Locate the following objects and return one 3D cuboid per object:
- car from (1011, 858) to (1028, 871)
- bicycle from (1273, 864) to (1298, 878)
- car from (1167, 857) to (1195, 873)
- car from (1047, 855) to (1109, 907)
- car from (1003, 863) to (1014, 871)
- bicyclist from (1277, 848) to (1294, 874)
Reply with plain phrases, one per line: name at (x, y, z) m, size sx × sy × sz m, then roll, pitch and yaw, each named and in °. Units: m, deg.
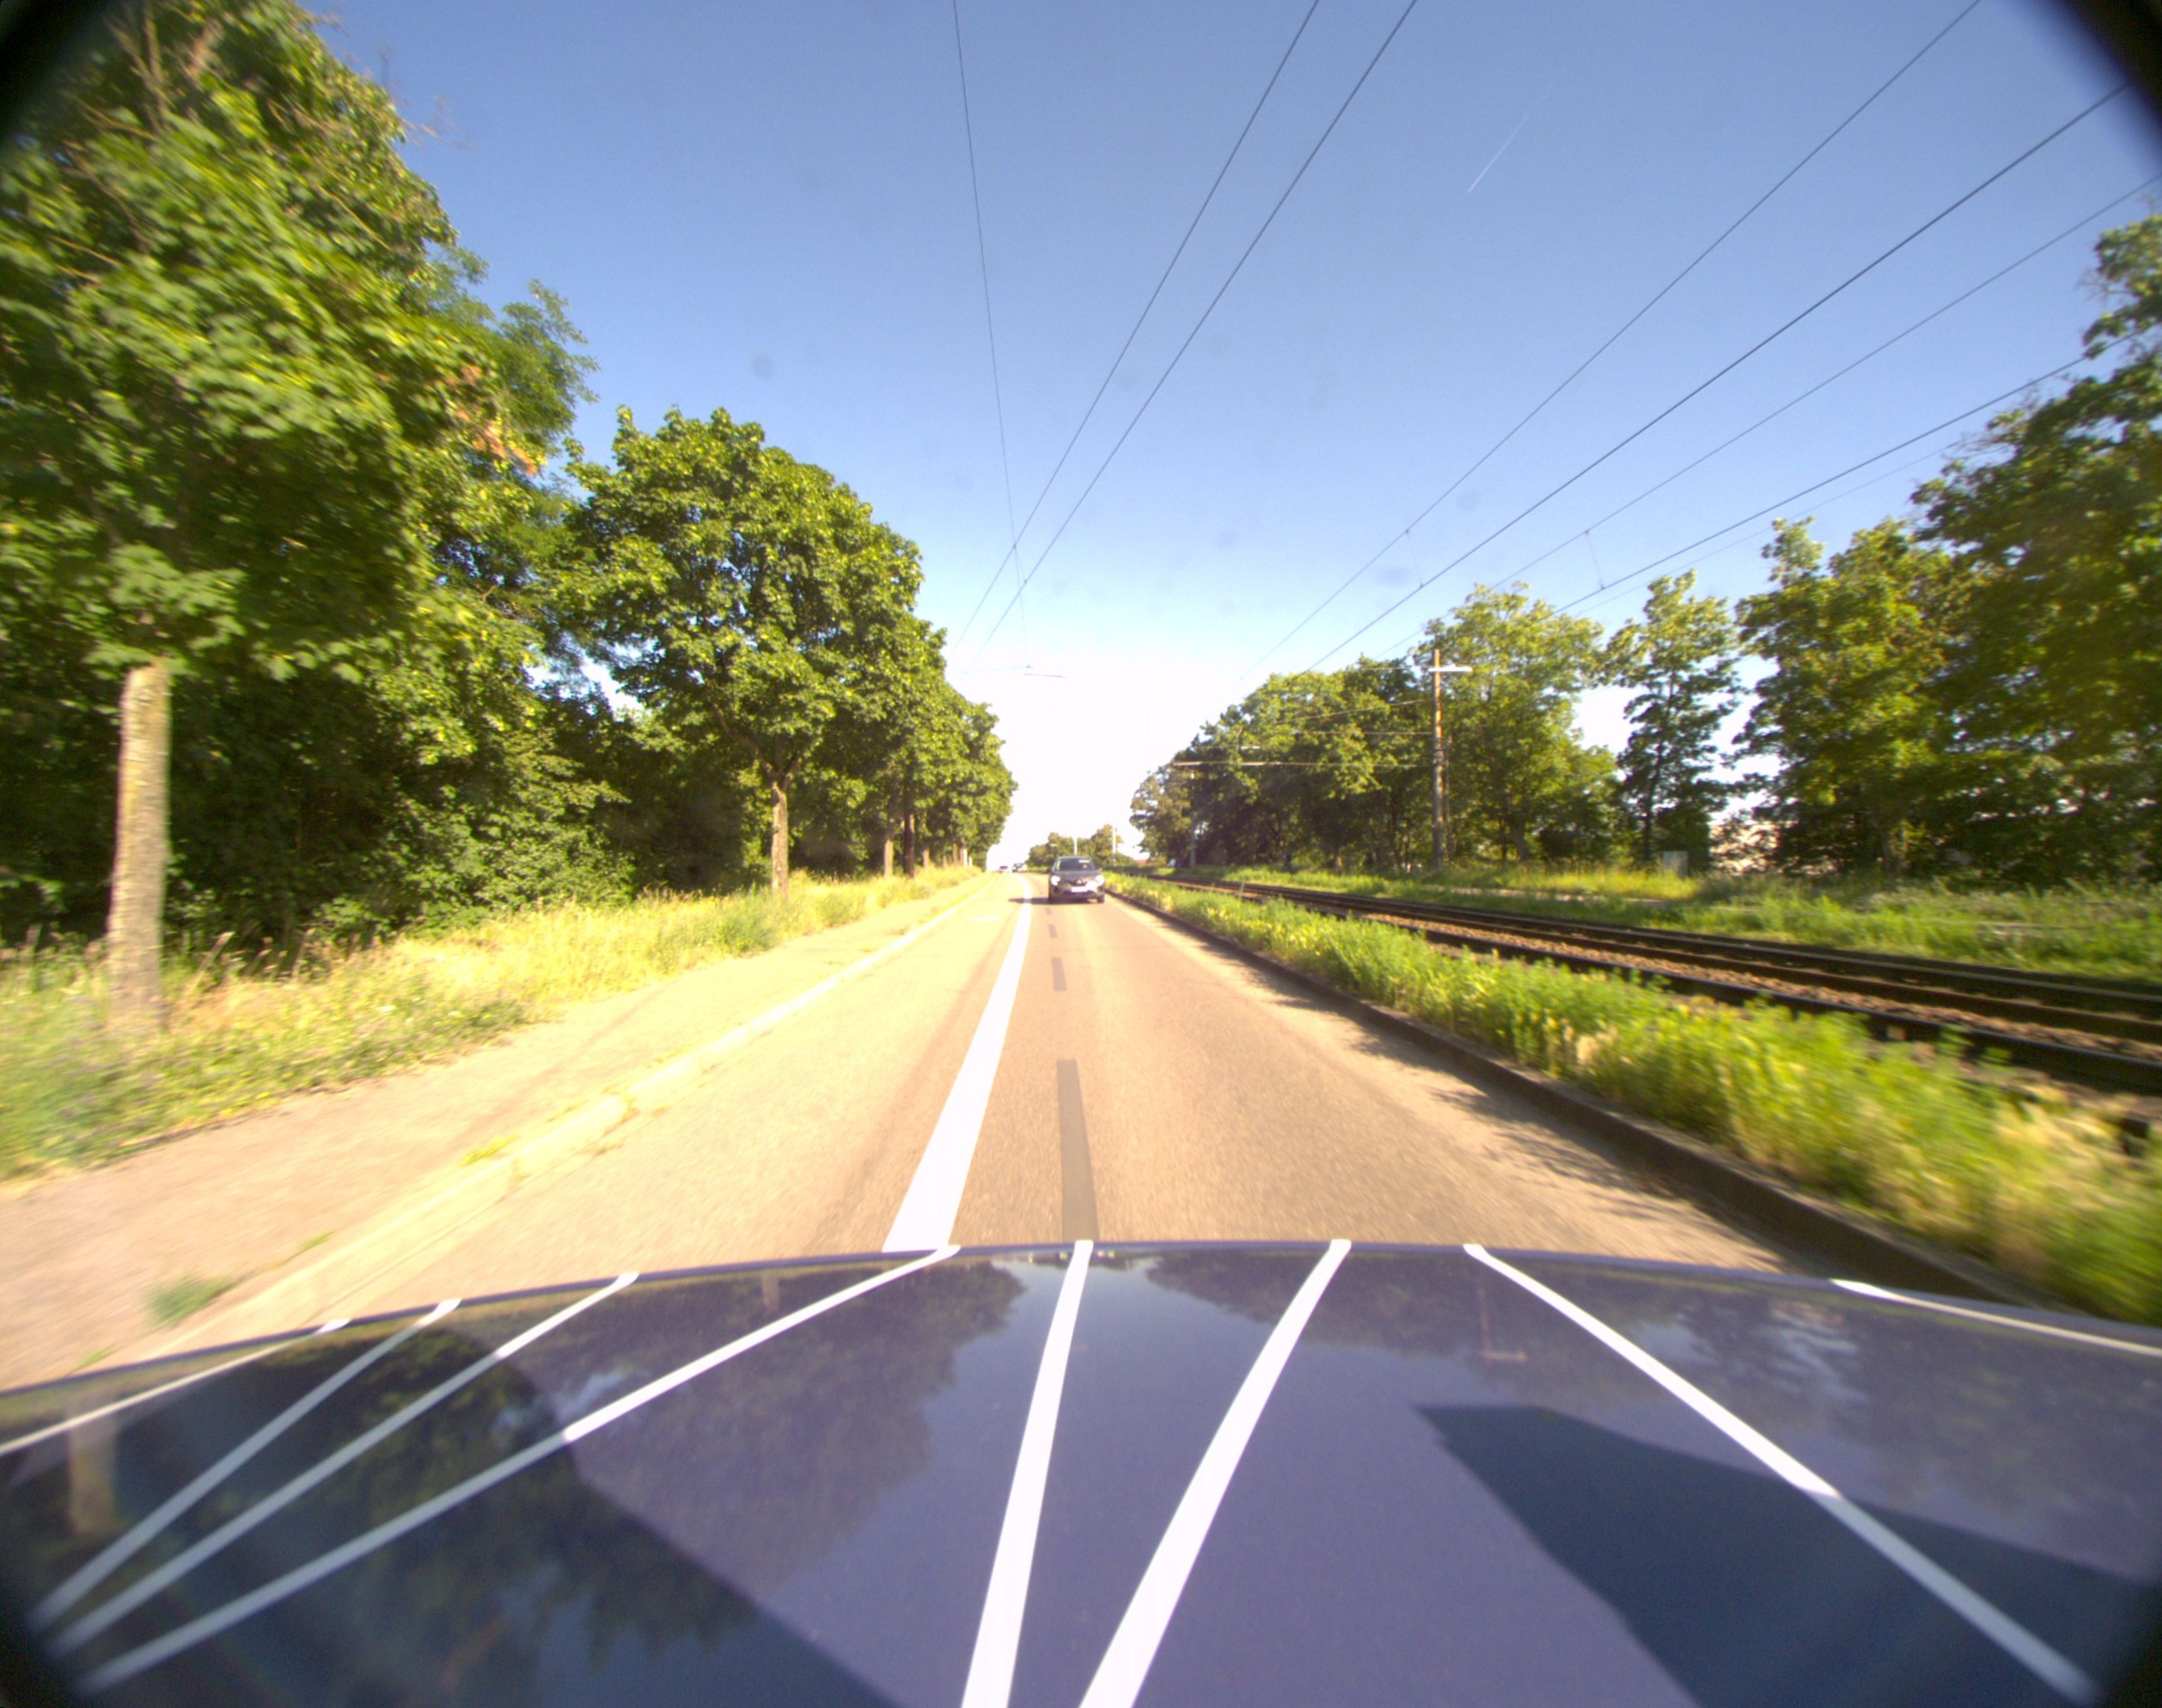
car at (-8.168, 1.352, 100.567) m, size 2.000 × 1.577 × 3.997 m, roll -2°, pitch 0°, yaw -9°
bicycle at (14.087, 1.185, 52.409) m, size 0.820 × 0.909 × 2.536 m, roll -1°, pitch 0°, yaw -4°
car at (9.366, 1.018, 71.426) m, size 1.715 × 1.470 × 3.998 m, roll -1°, pitch 0°, yaw -6°
car at (-0.183, 0.875, 26.349) m, size 1.822 × 1.589 × 4.411 m, roll -2°, pitch 0°, yaw -4°
car at (-16.292, 2.944, 170.153) m, size 2.000 × 1.577 × 3.996 m, roll -2°, pitch 0°, yaw -12°
bicyclist at (14.082, 0.478, 52.366) m, size 0.821 × 1.726 × 0.902 m, roll -1°, pitch 0°, yaw -4°
